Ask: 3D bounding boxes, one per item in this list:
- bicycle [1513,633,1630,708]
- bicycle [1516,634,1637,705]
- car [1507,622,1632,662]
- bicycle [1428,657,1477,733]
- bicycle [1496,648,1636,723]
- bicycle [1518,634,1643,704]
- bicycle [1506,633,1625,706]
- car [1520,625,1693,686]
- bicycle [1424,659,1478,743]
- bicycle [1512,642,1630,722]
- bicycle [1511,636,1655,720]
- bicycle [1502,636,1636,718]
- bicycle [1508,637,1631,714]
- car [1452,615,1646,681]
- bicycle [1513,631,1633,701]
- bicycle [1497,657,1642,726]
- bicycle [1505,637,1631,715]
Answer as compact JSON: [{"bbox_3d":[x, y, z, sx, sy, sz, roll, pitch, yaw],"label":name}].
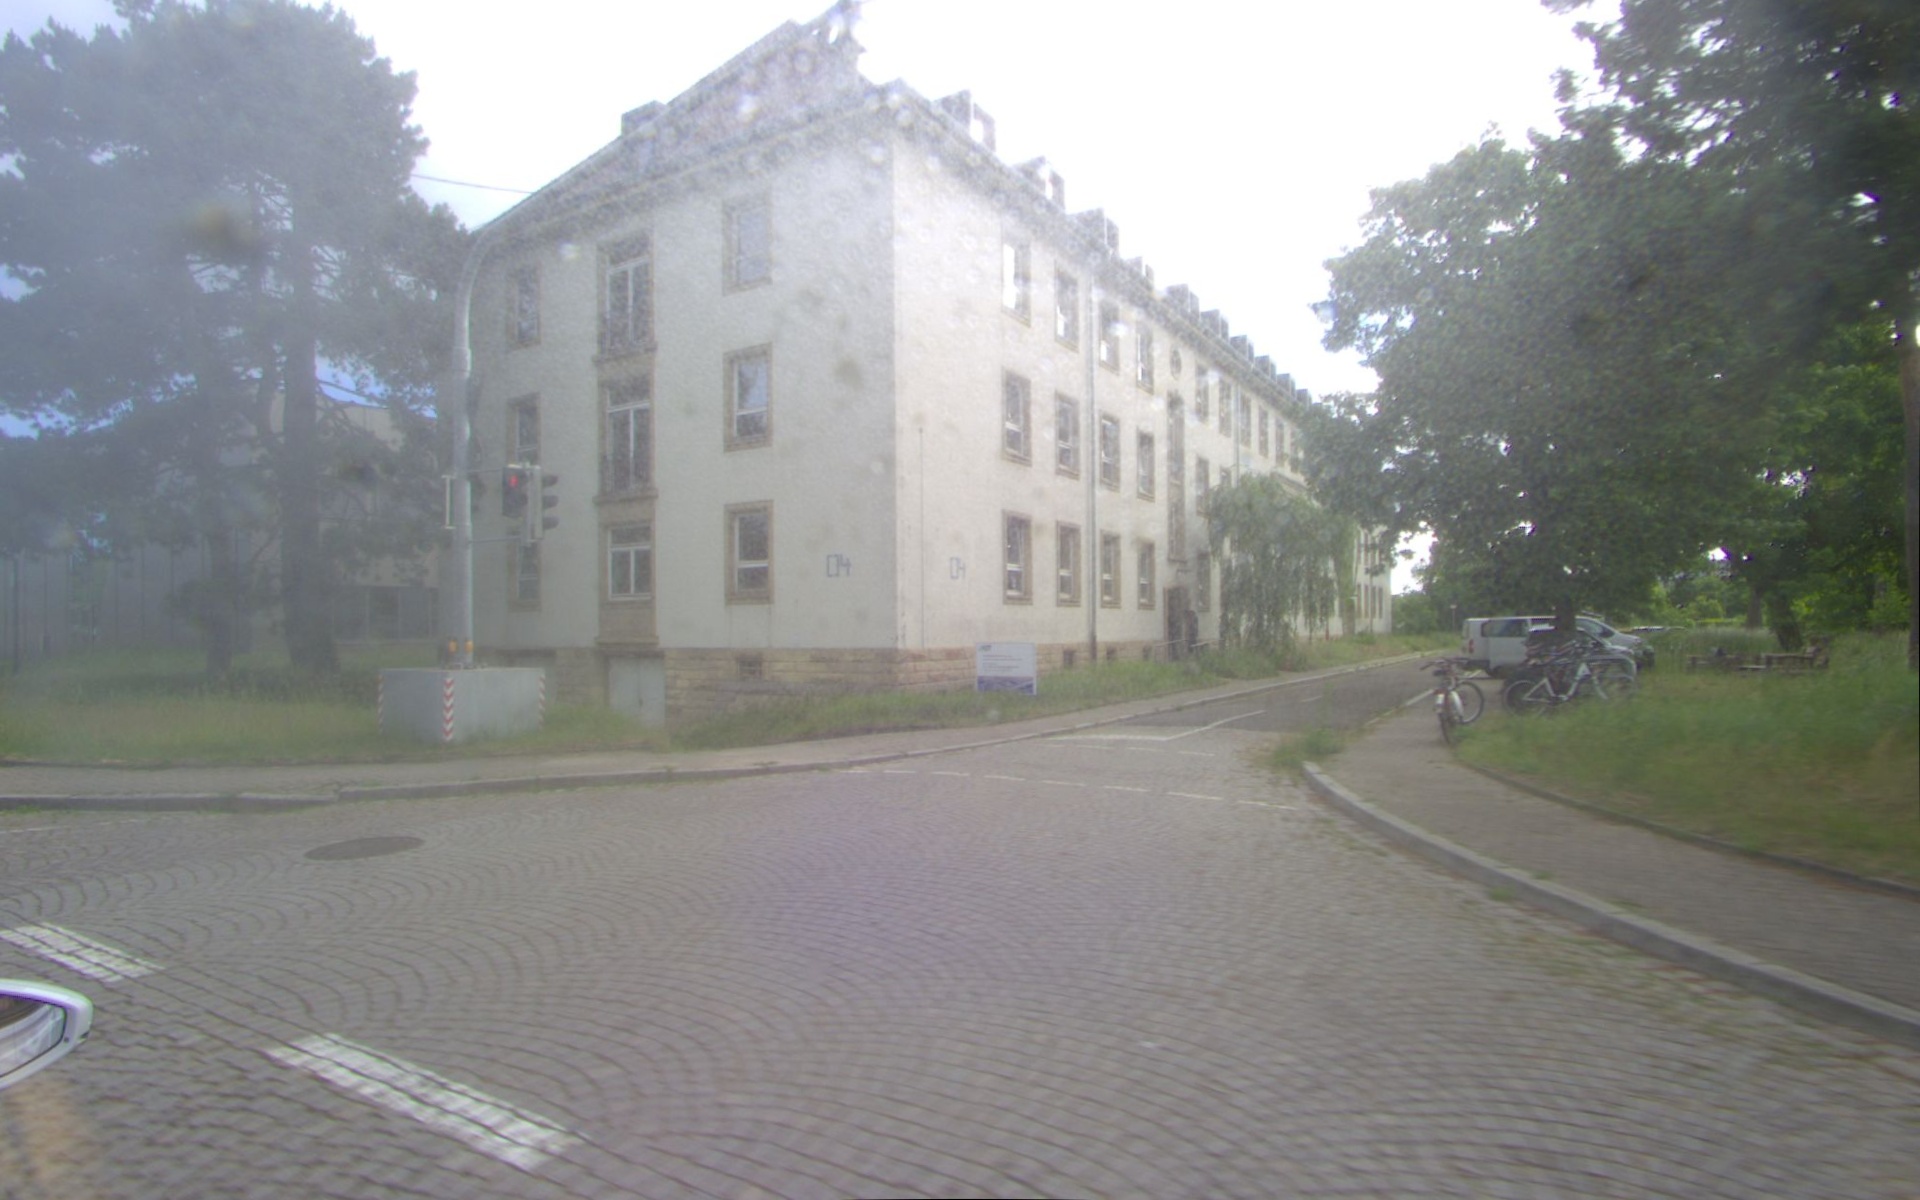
[{"bbox_3d":[11.419,1.288,18.733,1.829,1.337,0.553,-1,-1,37],"label":"bicycle"},{"bbox_3d":[12.097,1.335,19.691,1.990,1.337,0.538,-1,-1,37],"label":"bicycle"},{"bbox_3d":[25.913,1.765,42.677,4.453,1.638,1.990,-1,-2,33],"label":"car"},{"bbox_3d":[7.340,1.377,14.901,0.535,1.027,1.534,-1,-1,31],"label":"bicycle"},{"bbox_3d":[9.674,1.341,16.028,1.878,1.115,0.539,-1,-1,37],"label":"bicycle"},{"bbox_3d":[12.449,1.356,20.140,2.105,1.337,0.553,-1,-1,37],"label":"bicycle"},{"bbox_3d":[11.651,1.312,19.306,1.914,1.337,0.551,-1,-1,37],"label":"bicycle"},{"bbox_3d":[17.685,1.475,27.518,3.877,1.549,1.852,-1,-1,34],"label":"car"},{"bbox_3d":[6.550,1.307,13.332,0.522,0.992,1.618,-1,-1,31],"label":"bicycle"},{"bbox_3d":[10.037,1.319,16.483,1.618,1.231,0.539,-1,-1,37],"label":"bicycle"},{"bbox_3d":[10.434,1.276,16.830,2.022,1.337,0.436,-1,-1,37],"label":"bicycle"},{"bbox_3d":[10.569,1.303,17.415,1.950,1.337,0.574,-1,-1,37],"label":"bicycle"},{"bbox_3d":[11.117,1.345,18.297,1.894,1.337,0.390,-1,-1,37],"label":"bicycle"},{"bbox_3d":[18.145,1.447,31.128,4.774,1.934,2.237,-1,-1,17],"label":"car"},{"bbox_3d":[12.720,1.342,20.808,2.075,1.385,0.755,-1,-1,37],"label":"bicycle"},{"bbox_3d":[9.377,1.384,15.443,1.878,0.961,0.539,-1,-1,37],"label":"bicycle"},{"bbox_3d":[10.858,1.328,17.928,1.895,1.337,0.504,-1,-1,37],"label":"bicycle"}]
